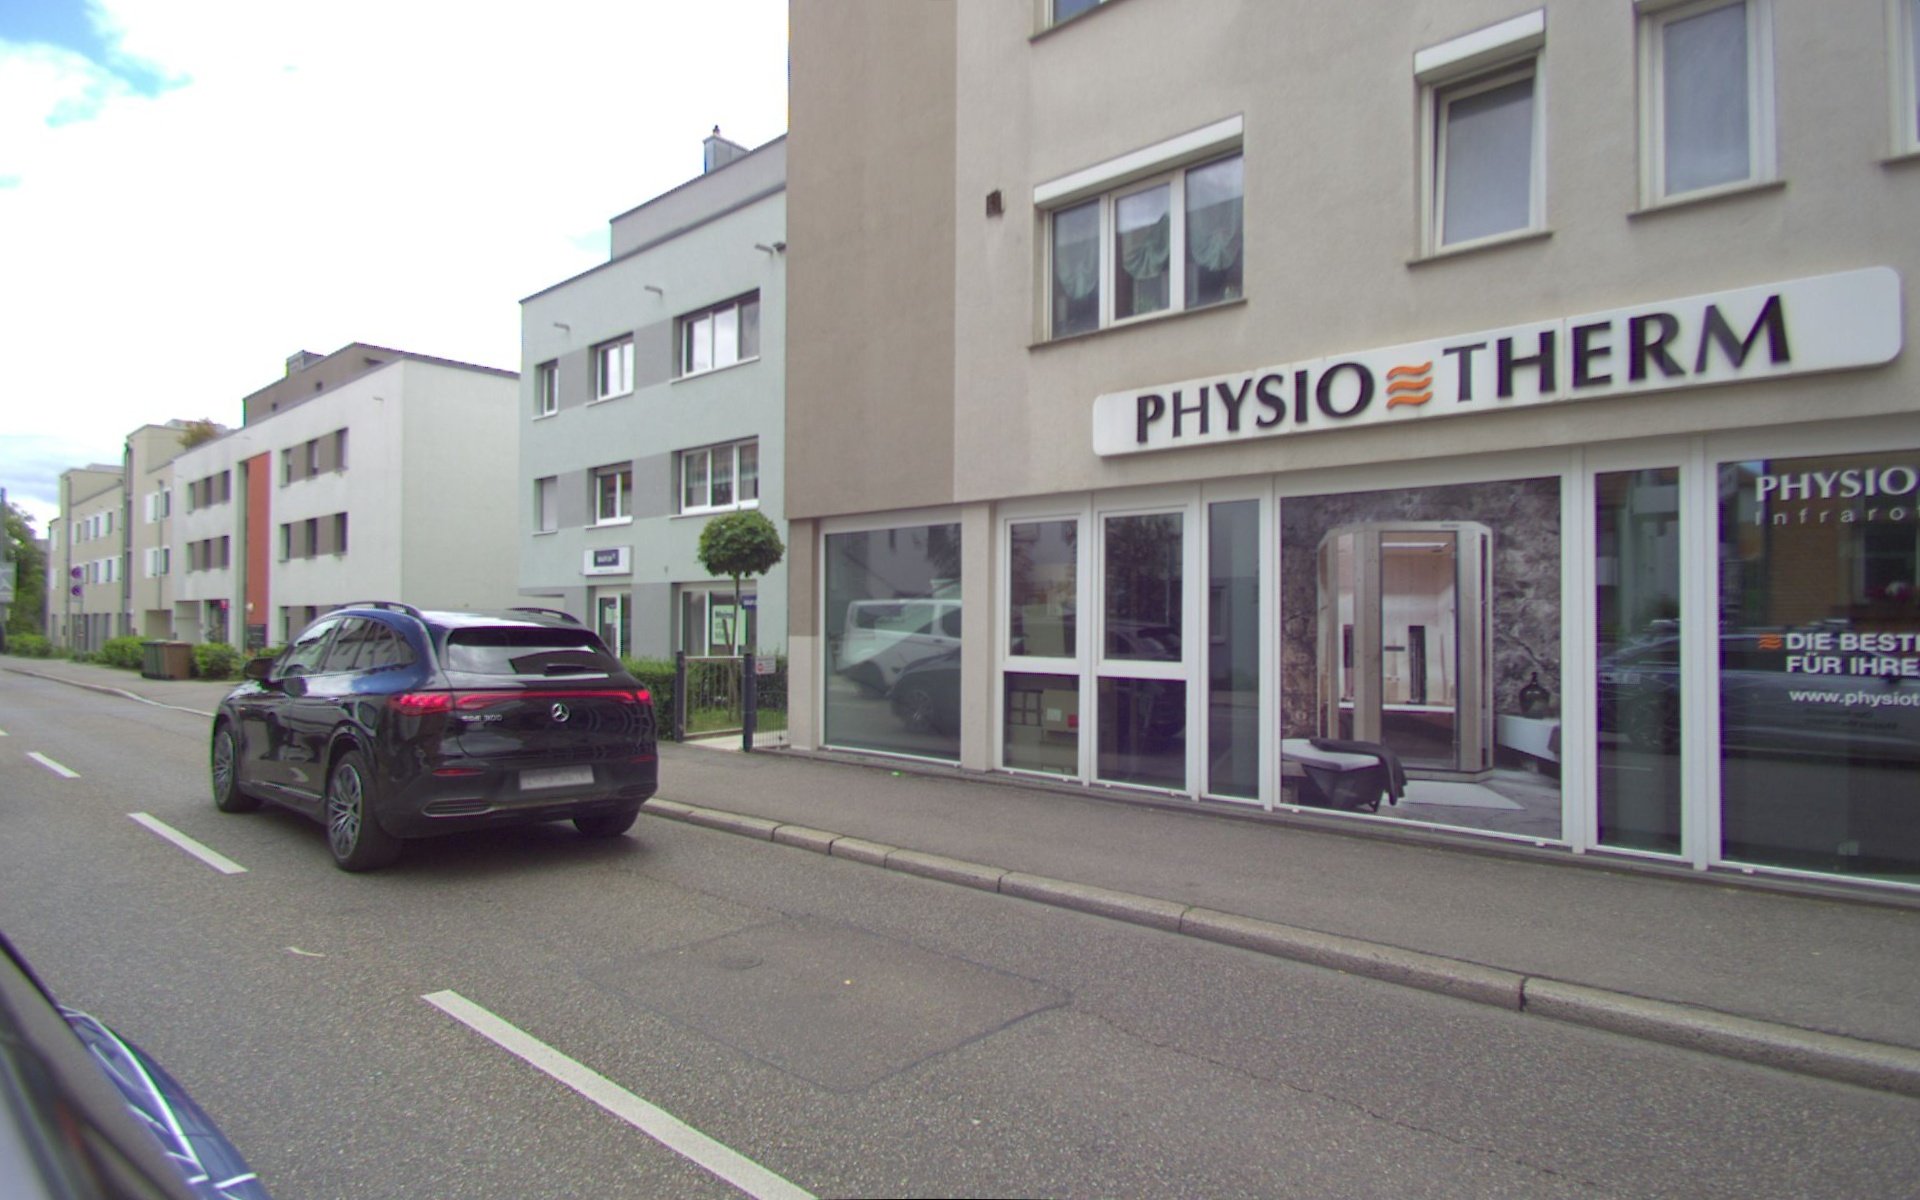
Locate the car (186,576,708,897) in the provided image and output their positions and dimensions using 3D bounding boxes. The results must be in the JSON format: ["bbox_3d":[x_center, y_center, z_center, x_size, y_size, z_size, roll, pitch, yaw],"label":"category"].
[{"bbox_3d":[-4.135,0.837,7.806,4.551,1.752,1.973,-1,-4,41],"label":"car"}]

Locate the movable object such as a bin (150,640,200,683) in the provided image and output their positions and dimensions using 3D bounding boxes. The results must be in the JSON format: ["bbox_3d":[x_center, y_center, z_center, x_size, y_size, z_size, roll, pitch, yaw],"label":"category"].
[{"bbox_3d":[-21.828,1.700,28.149,0.748,1.160,0.939,-2,-2,37],"label":"movable object such as a bin"}]

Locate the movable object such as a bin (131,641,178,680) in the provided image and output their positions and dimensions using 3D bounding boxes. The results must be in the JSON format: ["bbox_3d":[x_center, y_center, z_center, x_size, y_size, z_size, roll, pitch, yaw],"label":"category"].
[{"bbox_3d":[-23.223,1.738,29.197,0.791,1.097,0.886,-2,-2,37],"label":"movable object such as a bin"}]

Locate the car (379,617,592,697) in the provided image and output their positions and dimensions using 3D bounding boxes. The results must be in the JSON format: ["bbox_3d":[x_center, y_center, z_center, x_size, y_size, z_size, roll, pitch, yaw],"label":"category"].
[{"bbox_3d":[-10.879,1.255,23.401,1.725,1.680,4.116,-1,-2,44],"label":"car"}]

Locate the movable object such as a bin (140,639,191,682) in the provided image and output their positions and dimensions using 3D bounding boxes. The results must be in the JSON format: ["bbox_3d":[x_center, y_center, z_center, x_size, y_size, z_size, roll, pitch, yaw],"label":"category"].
[{"bbox_3d":[-22.506,1.693,28.668,0.839,1.160,0.947,-2,-2,37],"label":"movable object such as a bin"}]

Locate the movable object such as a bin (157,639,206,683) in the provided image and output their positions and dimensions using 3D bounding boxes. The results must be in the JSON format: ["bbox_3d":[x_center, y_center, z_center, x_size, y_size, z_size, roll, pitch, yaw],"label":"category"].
[{"bbox_3d":[-21.287,1.652,27.690,0.612,1.160,0.932,-2,-2,37],"label":"movable object such as a bin"}]

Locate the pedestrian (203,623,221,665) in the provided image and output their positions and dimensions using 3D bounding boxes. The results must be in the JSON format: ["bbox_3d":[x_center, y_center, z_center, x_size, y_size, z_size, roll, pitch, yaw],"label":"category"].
[{"bbox_3d":[-29.950,1.768,40.529,0.511,1.655,0.642,1,-2,-30],"label":"pedestrian"}]
